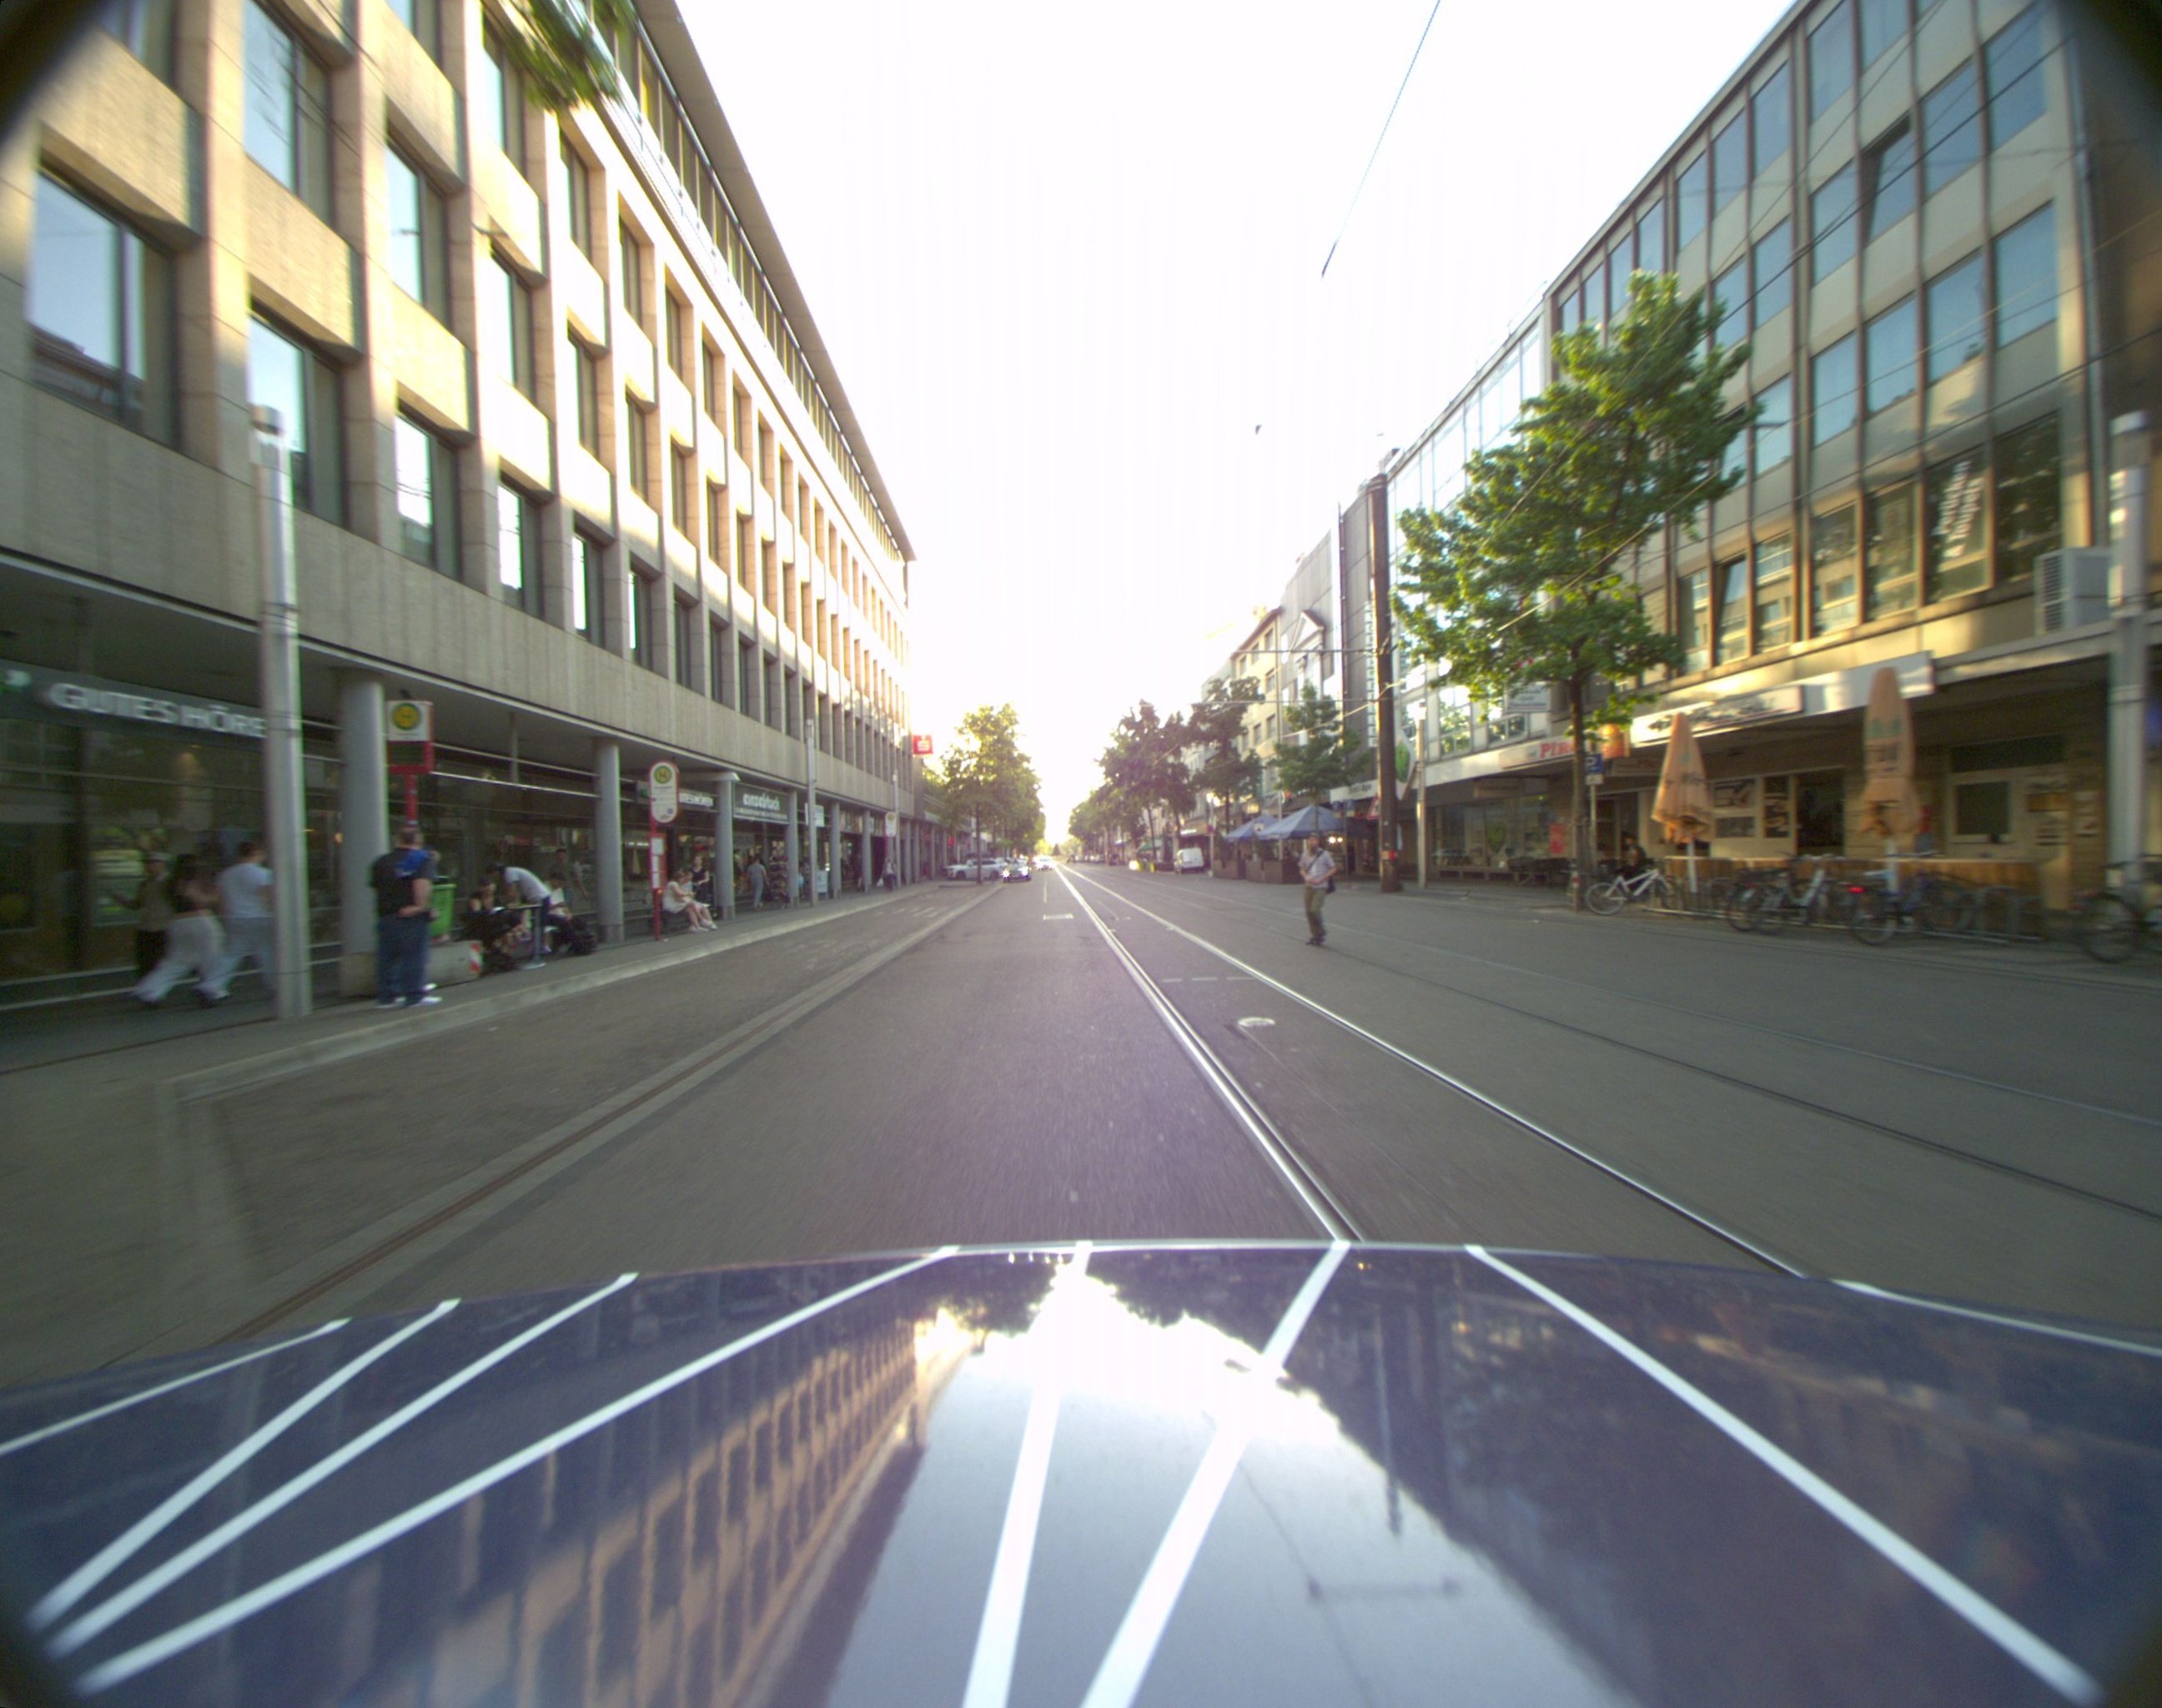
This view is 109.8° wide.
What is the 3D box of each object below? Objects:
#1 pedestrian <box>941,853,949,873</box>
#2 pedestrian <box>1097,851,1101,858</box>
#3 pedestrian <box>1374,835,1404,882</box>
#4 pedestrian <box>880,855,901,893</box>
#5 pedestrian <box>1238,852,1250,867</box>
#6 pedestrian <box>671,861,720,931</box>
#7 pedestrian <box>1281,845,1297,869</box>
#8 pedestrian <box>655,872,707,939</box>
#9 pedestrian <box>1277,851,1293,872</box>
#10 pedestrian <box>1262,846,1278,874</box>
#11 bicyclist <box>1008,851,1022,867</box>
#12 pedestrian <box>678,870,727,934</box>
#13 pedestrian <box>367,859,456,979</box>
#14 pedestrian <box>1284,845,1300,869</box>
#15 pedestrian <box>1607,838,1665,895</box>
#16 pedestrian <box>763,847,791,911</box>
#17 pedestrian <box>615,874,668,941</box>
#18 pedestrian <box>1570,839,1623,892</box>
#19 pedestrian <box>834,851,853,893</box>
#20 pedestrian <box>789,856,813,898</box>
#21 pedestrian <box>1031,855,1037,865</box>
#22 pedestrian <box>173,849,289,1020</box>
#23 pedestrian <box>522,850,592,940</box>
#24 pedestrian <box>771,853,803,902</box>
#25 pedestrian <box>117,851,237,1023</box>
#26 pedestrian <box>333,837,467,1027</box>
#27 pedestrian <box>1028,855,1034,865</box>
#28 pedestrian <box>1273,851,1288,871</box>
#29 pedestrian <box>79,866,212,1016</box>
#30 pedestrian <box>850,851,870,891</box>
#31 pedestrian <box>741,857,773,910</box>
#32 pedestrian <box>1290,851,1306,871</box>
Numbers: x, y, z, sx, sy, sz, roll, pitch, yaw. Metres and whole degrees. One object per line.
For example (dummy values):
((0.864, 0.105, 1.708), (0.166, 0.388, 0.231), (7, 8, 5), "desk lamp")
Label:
((-11.665, 0.766, 65.163), (0.618, 1.681, 0.628), (0, 1, -2), "pedestrian")
((3.565, 0.137, 149.651), (0.650, 1.451, 0.650), (-1, 1, -3), "pedestrian")
((12.166, 0.178, 30.000), (0.686, 1.782, 0.990), (-4, 1, 1), "pedestrian")
((-8.289, 0.873, 33.038), (0.670, 1.579, 0.638), (-3, 1, -3), "pedestrian")
((12.563, 0.422, 58.552), (0.650, 1.168, 0.649), (-2, 1, -7), "pedestrian")
((-8.791, 0.939, 17.347), (0.726, 1.561, 0.736), (-1, 1, 0), "pedestrian")
((12.978, 0.190, 47.498), (0.662, 1.426, 0.643), (-6, 2, -2), "pedestrian")
((-8.236, 1.047, 15.663), (0.720, 1.307, 0.532), (-2, 1, -1), "pedestrian")
((12.043, 0.440, 44.825), (0.643, 1.150, 0.665), (-4, 1, -4), "pedestrian")
((10.604, 0.333, 42.629), (0.658, 1.543, 0.565), (-4, 2, -4), "pedestrian")
((-5.964, 0.466, 68.979), (0.895, 1.407, 0.762), (-2, 2, 26), "bicyclist")
((-8.069, 1.010, 16.224), (0.720, 1.307, 0.524), (-2, 1, -1), "pedestrian")
((-9.504, 0.898, 10.806), (0.650, 1.651, 0.650), (-1, 1, -2), "pedestrian")
((13.015, 0.195, 46.780), (0.662, 1.426, 0.643), (-6, 2, -2), "pedestrian")
((13.613, 0.297, 18.668), (0.672, 1.318, 0.911), (-4, 1, -3), "pedestrian")
((-9.424, 0.761, 23.580), (0.579, 1.933, 0.655), (-1, 1, -2), "pedestrian")
((-8.974, 1.076, 15.526), (0.720, 1.307, 0.532), (-2, 1, -1), "pedestrian")
((13.469, 0.294, 19.859), (0.672, 1.318, 0.911), (-4, 1, -3), "pedestrian")
((-10.763, 0.824, 34.466), (0.618, 1.878, 0.683), (-1, 1, -1), "pedestrian")
((-11.388, 0.926, 30.871), (0.682, 1.634, 0.788), (-1, 1, -3), "pedestrian")
((-6.847, 0.822, 111.173), (0.650, 1.451, 0.649), (-2, 1, -19), "pedestrian")
((-9.264, 0.844, 8.302), (0.540, 1.796, 0.604), (-1, 1, -3), "pedestrian")
((-11.292, 0.865, 16.412), (0.846, 1.878, 0.899), (-1, 1, -2), "pedestrian")
((-10.804, 0.851, 27.951), (0.846, 1.787, 0.858), (-1, 1, -2), "pedestrian")
((-9.804, 0.864, 8.263), (0.540, 1.796, 0.604), (-1, 1, -3), "pedestrian")
((-6.862, 0.749, 7.694), (0.670, 1.829, 0.708), (-1, 1, -3), "pedestrian")
((-7.135, 0.857, 108.542), (0.650, 1.451, 0.649), (-2, 1, -19), "pedestrian")
((12.038, 0.430, 45.901), (0.643, 1.150, 0.665), (-4, 1, -4), "pedestrian")
((-10.787, 0.969, 8.786), (0.650, 1.651, 0.680), (-1, 1, -1), "pedestrian")
((-10.386, 0.792, 35.695), (0.708, 1.878, 0.796), (-1, 1, -1), "pedestrian")
((-10.228, 0.927, 24.009), (0.689, 1.652, 0.722), (-1, 1, -1), "pedestrian")
((12.849, 0.408, 44.998), (0.643, 1.150, 0.665), (-4, 1, -4), "pedestrian")
